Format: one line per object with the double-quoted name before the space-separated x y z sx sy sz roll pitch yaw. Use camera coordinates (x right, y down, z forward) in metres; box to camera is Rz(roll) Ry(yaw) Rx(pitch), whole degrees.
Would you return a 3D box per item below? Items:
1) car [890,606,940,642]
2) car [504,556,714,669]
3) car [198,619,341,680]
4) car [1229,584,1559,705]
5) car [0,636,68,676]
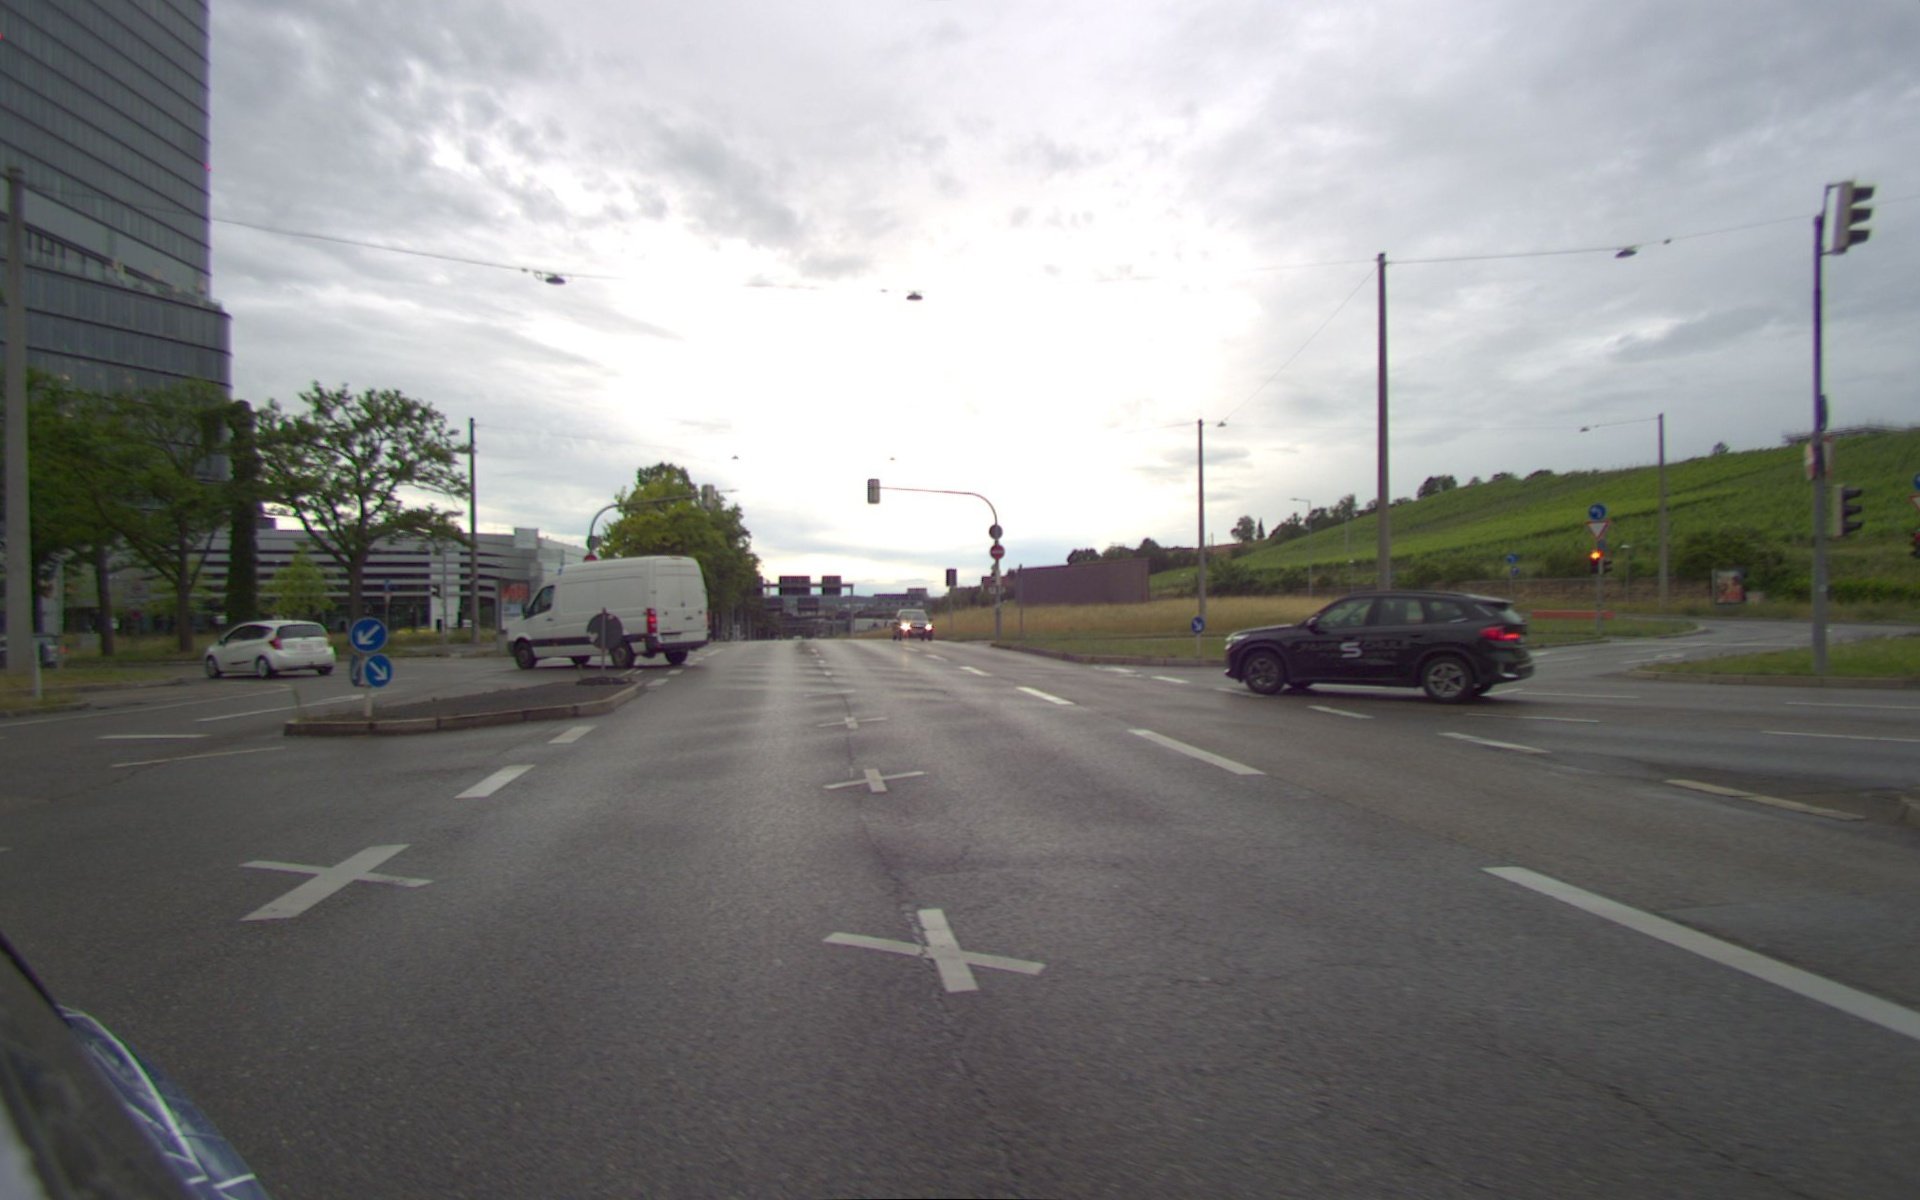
"car" -2.081 1.095 47.900 1.775 1.600 3.898 -1 0 6
"car" -8.906 0.328 25.499 5.438 2.604 1.912 -1 0 30
"car" -18.592 1.293 27.213 3.775 1.496 1.666 -1 0 29
"car" 6.535 0.619 15.491 4.335 1.608 1.717 -1 0 38
"car" -38.032 2.231 40.859 4.039 1.496 1.766 -1 0 29
